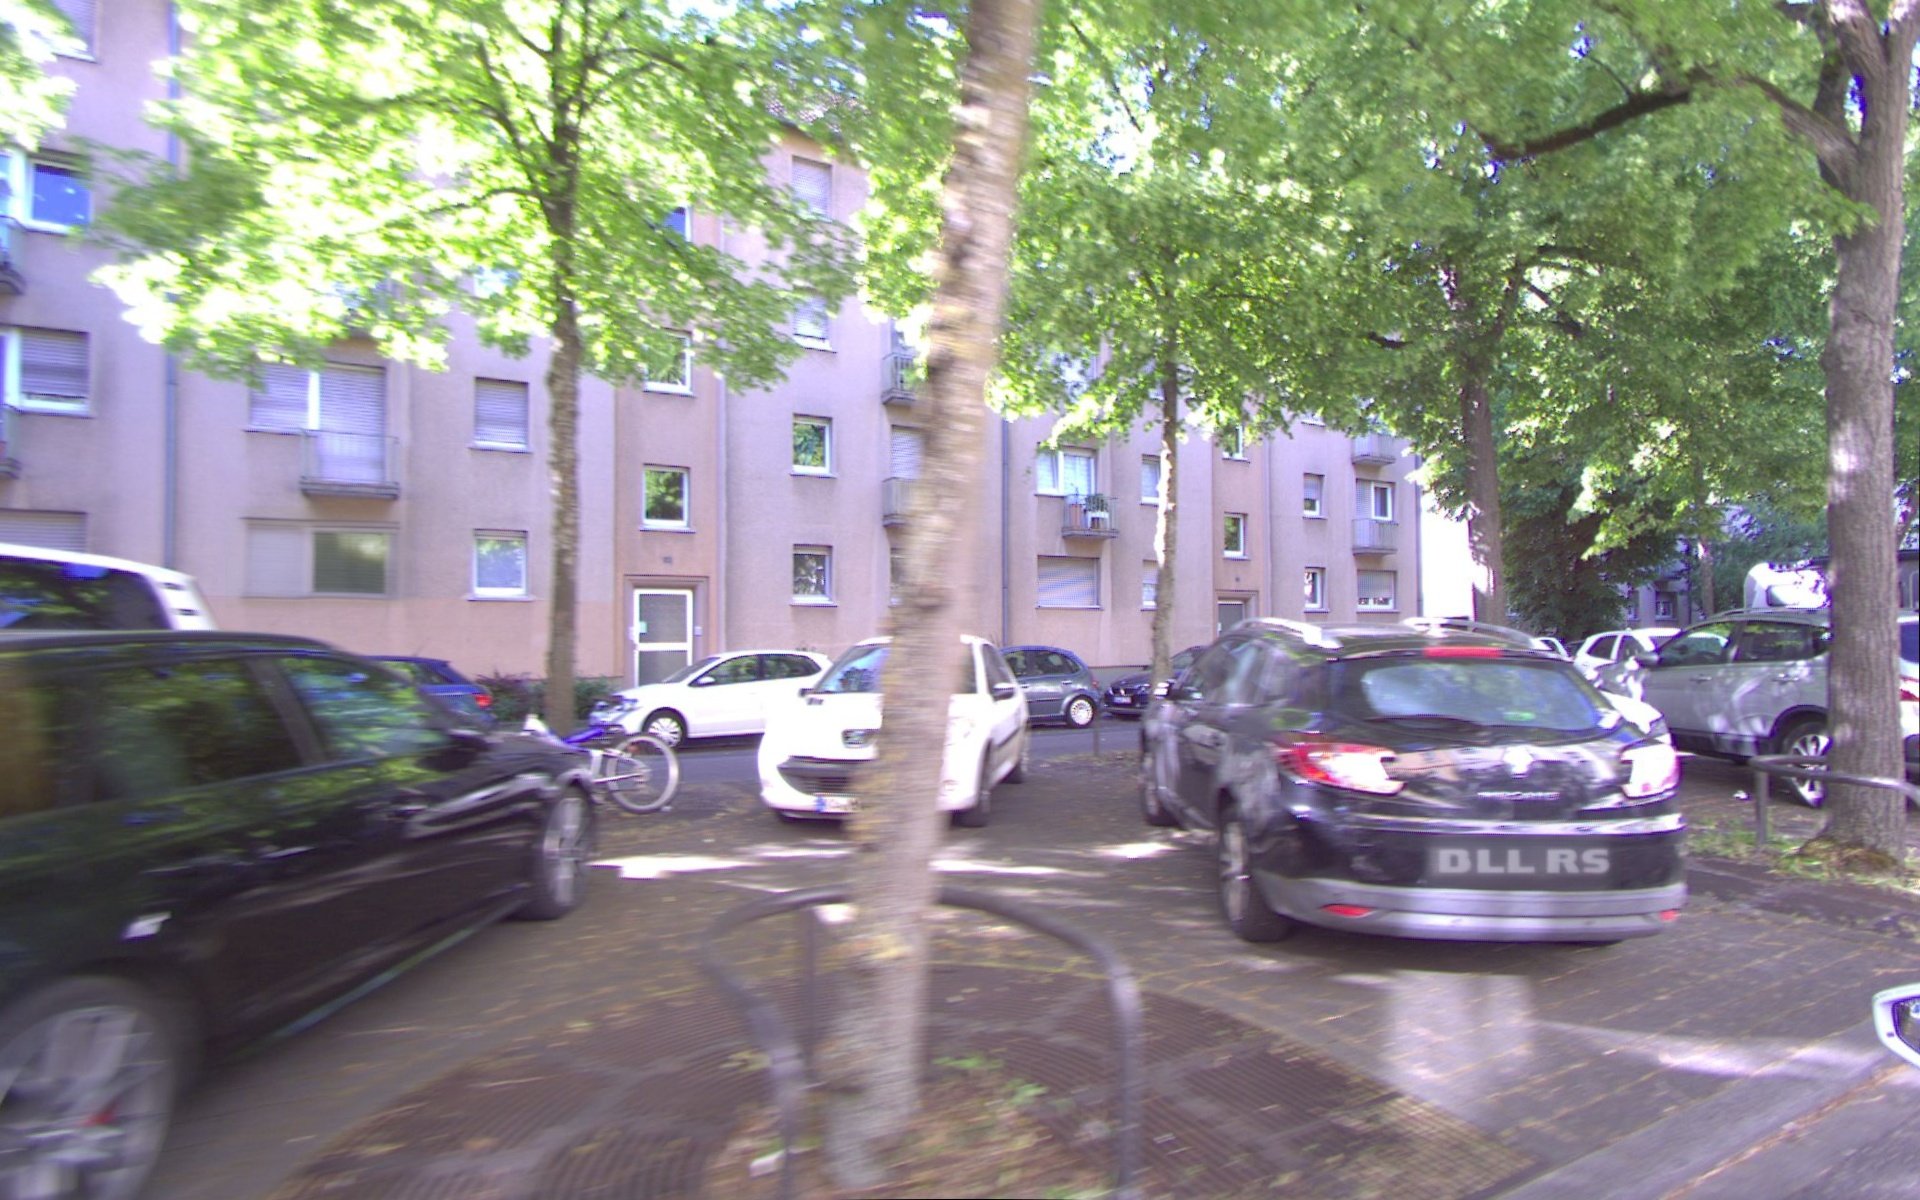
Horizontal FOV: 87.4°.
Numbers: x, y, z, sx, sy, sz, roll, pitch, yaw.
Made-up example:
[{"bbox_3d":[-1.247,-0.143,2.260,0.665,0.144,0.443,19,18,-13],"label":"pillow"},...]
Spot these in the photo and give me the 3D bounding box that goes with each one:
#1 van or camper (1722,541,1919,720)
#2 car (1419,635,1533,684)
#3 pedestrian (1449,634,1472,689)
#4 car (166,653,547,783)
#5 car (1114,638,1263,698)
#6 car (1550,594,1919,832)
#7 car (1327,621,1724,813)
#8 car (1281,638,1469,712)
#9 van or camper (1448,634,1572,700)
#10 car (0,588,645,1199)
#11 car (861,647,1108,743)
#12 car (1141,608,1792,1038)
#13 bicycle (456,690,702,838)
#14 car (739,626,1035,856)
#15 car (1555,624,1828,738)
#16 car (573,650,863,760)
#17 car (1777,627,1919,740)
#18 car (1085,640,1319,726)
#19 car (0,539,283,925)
[{"bbox_3d":[17.046,0.511,17.159,2.269,2.968,7.249,0,-2,-3],"label":"van or camper"},{"bbox_3d":[16.729,1.893,32.523,3.569,1.501,1.617,1,-2,-30],"label":"car"},{"bbox_3d":[16.933,2.072,33.972,0.457,1.850,0.497,1,-2,-30],"label":"pedestrian"},{"bbox_3d":[-7.597,1.408,13.020,3.953,1.405,1.883,1,-3,-30],"label":"car"},{"bbox_3d":[5.835,1.687,25.582,3.569,1.405,1.617,1,-2,-30],"label":"car"},{"bbox_3d":[7.574,0.874,9.296,1.725,1.701,4.147,0,-2,-1],"label":"car"},{"bbox_3d":[5.187,0.964,9.938,1.787,1.421,4.044,1,0,3],"label":"car"},{"bbox_3d":[9.516,1.648,22.974,4.258,1.528,1.755,1,-2,-30],"label":"car"},{"bbox_3d":[13.845,1.648,25.283,2.665,1.575,1.589,1,-2,-30],"label":"van or camper"},{"bbox_3d":[-2.732,0.759,3.424,1.752,1.474,4.491,0,-2,2],"label":"car"},{"bbox_3d":[0.457,1.576,17.577,3.953,1.436,1.883,1,-2,-30],"label":"car"},{"bbox_3d":[2.189,0.848,5.779,1.682,1.481,4.426,1,-2,3],"label":"car"},{"bbox_3d":[-2.939,1.231,7.856,1.750,0.953,0.433,1,0,-36],"label":"bicycle"},{"bbox_3d":[-0.353,0.964,8.368,1.781,1.474,3.636,0,-2,7],"label":"car"},{"bbox_3d":[10.938,1.161,15.360,1.722,1.527,3.546,-1,-2,4],"label":"car"},{"bbox_3d":[-3.671,1.503,15.353,3.953,1.405,1.883,1,-2,-30],"label":"car"},{"bbox_3d":[13.841,1.133,13.917,1.723,1.527,4.000,0,-2,-1],"label":"car"},{"bbox_3d":[4.901,1.591,20.223,4.480,1.528,1.984,1,-2,-30],"label":"car"},{"bbox_3d":[-5.605,0.616,4.517,1.979,1.856,4.607,0,-2,-1],"label":"car"}]
